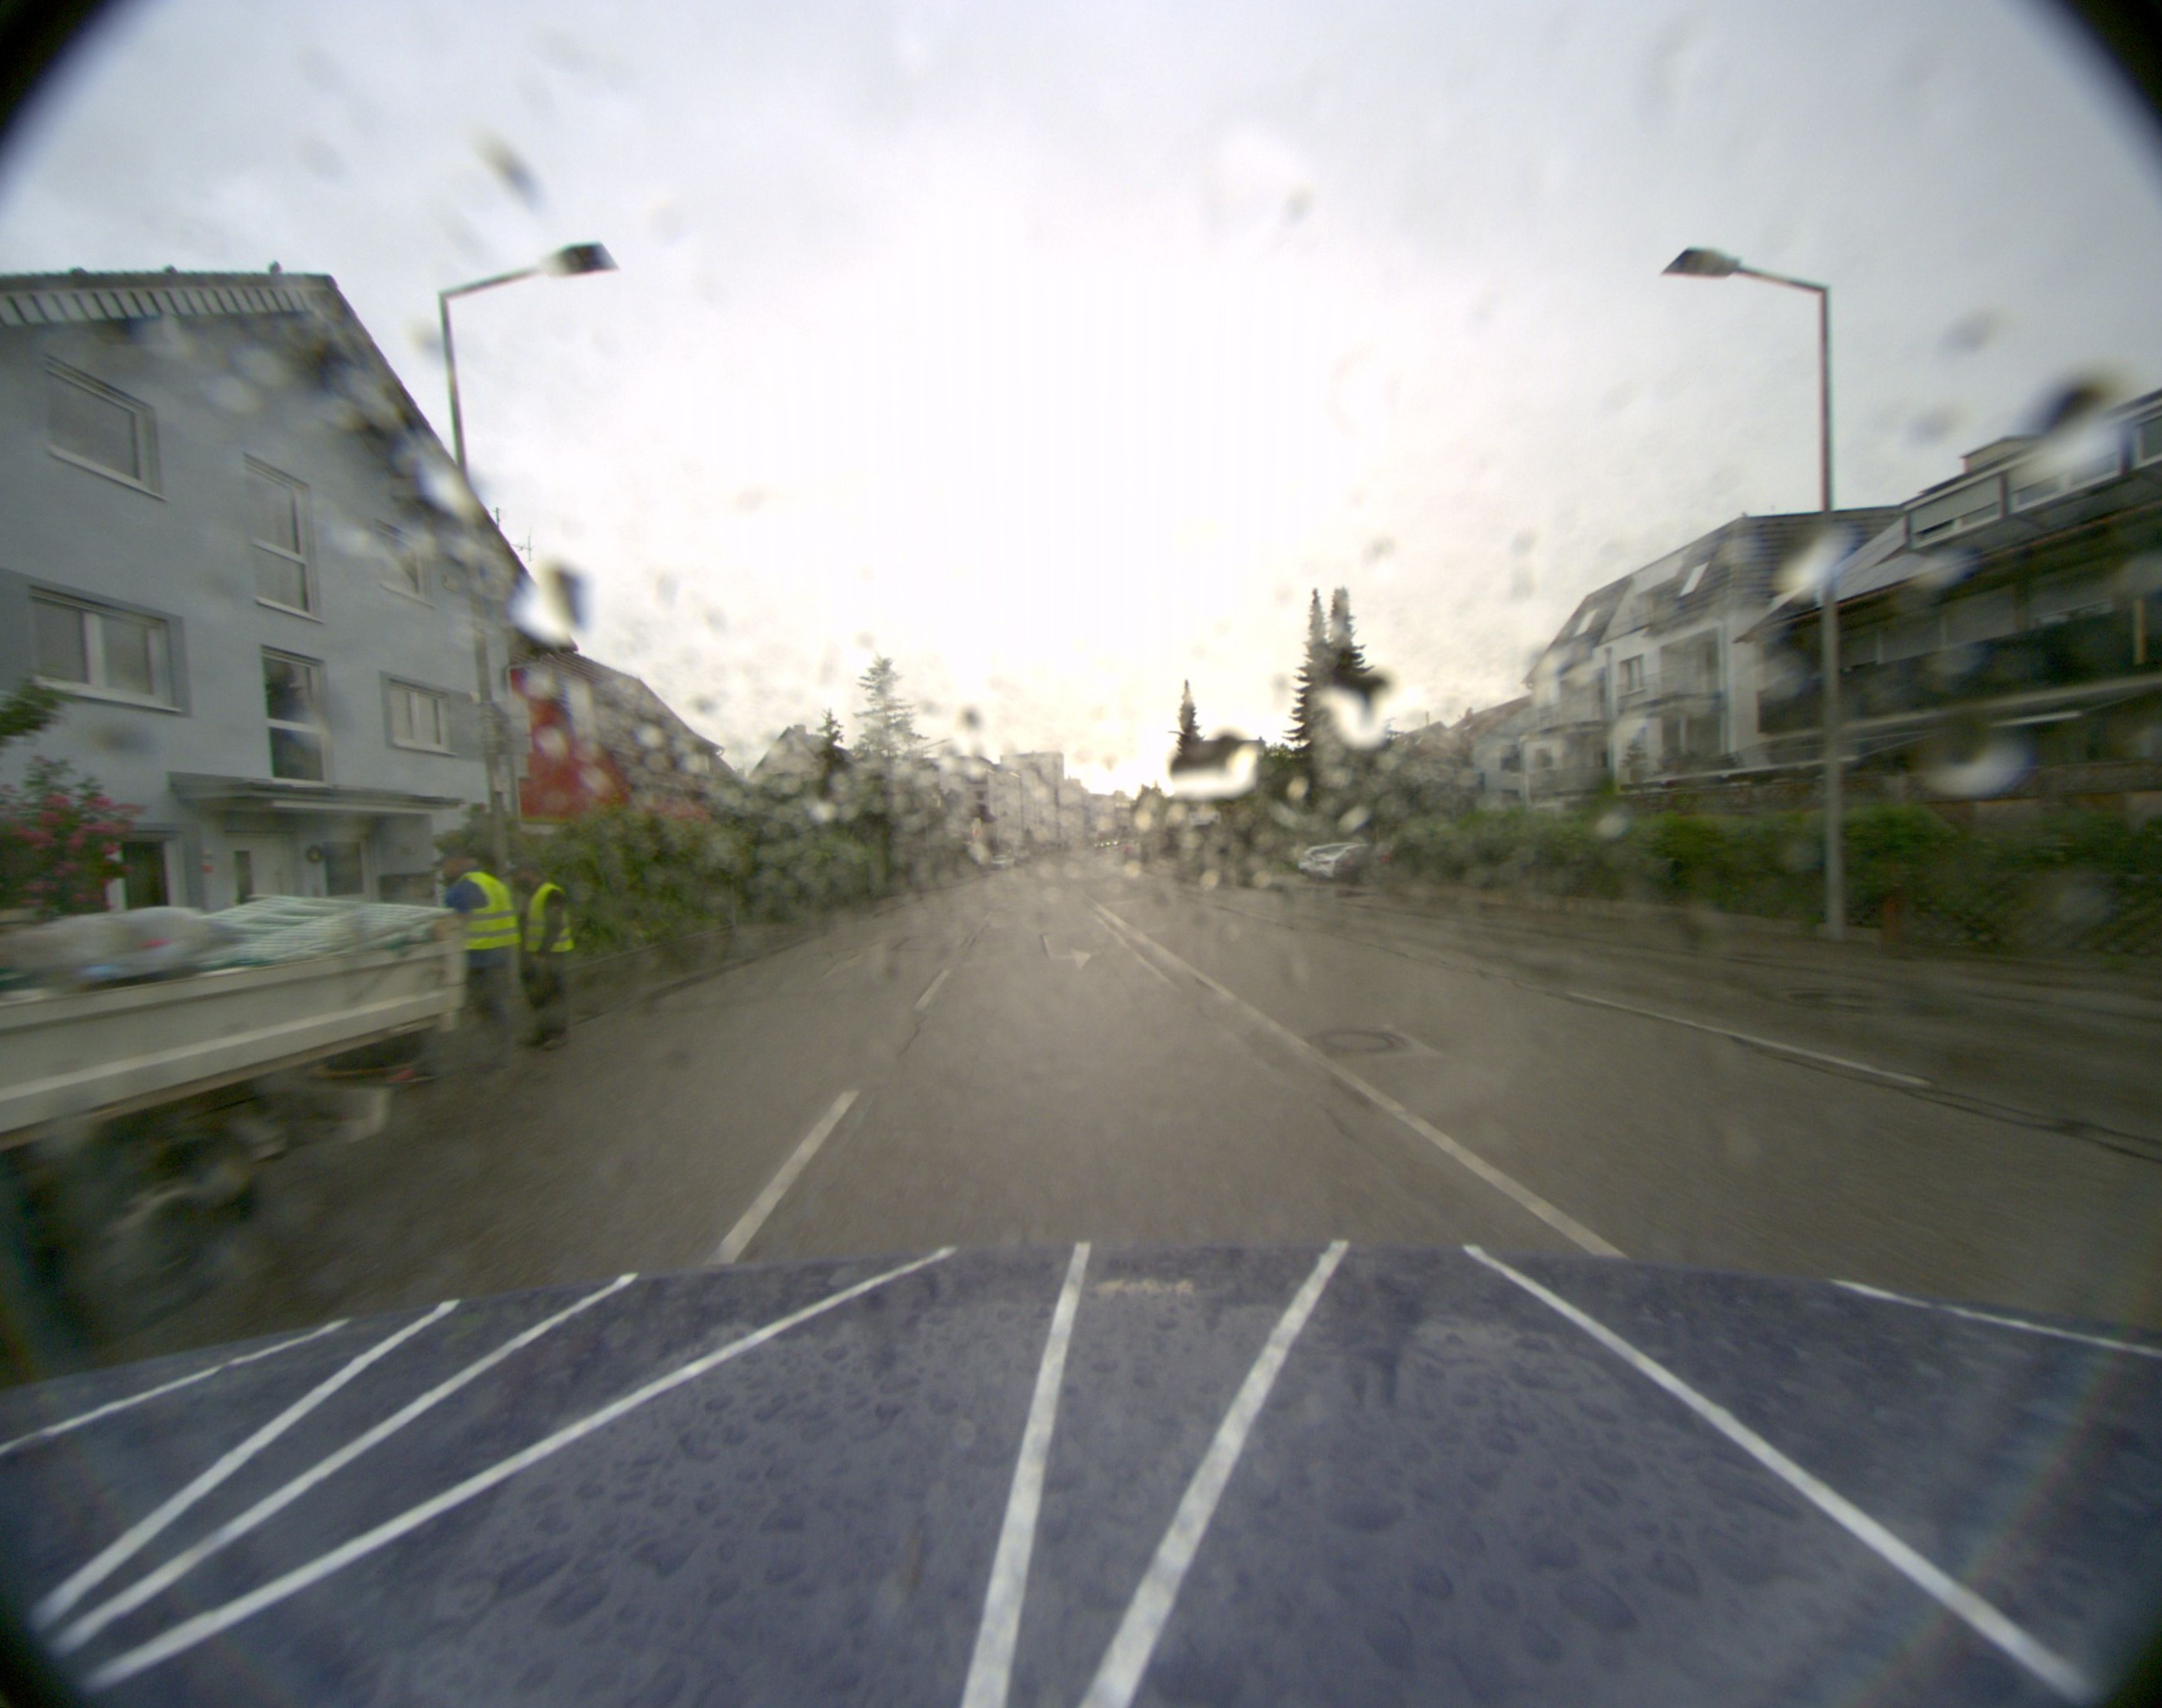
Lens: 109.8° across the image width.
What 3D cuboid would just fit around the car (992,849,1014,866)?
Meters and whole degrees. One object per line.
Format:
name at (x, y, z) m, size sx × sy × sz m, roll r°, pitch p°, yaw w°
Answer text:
car at (-8.466, 0.370, 82.824) m, size 1.912 × 1.622 × 3.702 m, roll -3°, pitch 1°, yaw 1°

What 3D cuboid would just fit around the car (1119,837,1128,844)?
car at (11.275, -3.658, 200.776) m, size 1.851 × 1.753 × 4.124 m, roll -3°, pitch 1°, yaw 10°

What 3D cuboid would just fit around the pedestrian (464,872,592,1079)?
pedestrian at (-4.804, 0.996, 6.668) m, size 0.577 × 1.654 × 0.942 m, roll -1°, pitch 0°, yaw -15°

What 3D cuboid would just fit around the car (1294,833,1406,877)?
car at (11.673, 0.035, 33.148) m, size 4.115 × 1.536 × 2.000 m, roll -4°, pitch 1°, yaw 2°

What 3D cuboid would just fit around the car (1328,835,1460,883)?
car at (11.423, 0.176, 27.924) m, size 4.035 × 1.434 × 1.813 m, roll -4°, pitch 1°, yaw 2°

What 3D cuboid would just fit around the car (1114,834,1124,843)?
car at (8.329, -3.332, 164.820) m, size 1.851 × 1.753 × 4.123 m, roll -3°, pitch 1°, yaw 7°

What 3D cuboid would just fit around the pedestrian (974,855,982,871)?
pedestrian at (-10.962, 0.969, 80.943) m, size 0.697 × 1.622 × 0.621 m, roll -3°, pitch 1°, yaw -4°

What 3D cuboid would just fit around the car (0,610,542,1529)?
car at (-3.988, 0.597, 0.857) m, size 2.398 × 2.418 × 6.430 m, roll -2°, pitch 0°, yaw -4°

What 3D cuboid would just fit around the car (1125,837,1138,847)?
car at (8.699, -1.992, 130.882) m, size 1.997 × 1.606 × 4.002 m, roll -3°, pitch 1°, yaw 7°

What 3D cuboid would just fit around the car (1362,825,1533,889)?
car at (11.667, 0.091, 24.473) m, size 4.468 × 1.651 × 2.000 m, roll -4°, pitch 1°, yaw 4°

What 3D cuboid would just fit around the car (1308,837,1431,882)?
car at (11.474, 0.208, 30.417) m, size 4.156 × 1.434 × 1.890 m, roll -4°, pitch 1°, yaw 4°

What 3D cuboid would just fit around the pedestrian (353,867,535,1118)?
pedestrian at (-4.735, 0.960, 5.723) m, size 0.711 × 1.697 × 0.891 m, roll -1°, pitch 0°, yaw -15°

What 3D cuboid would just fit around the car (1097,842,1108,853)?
car at (3.797, -1.190, 134.064) m, size 1.852 × 1.870 × 4.121 m, roll -3°, pitch 1°, yaw 1°
